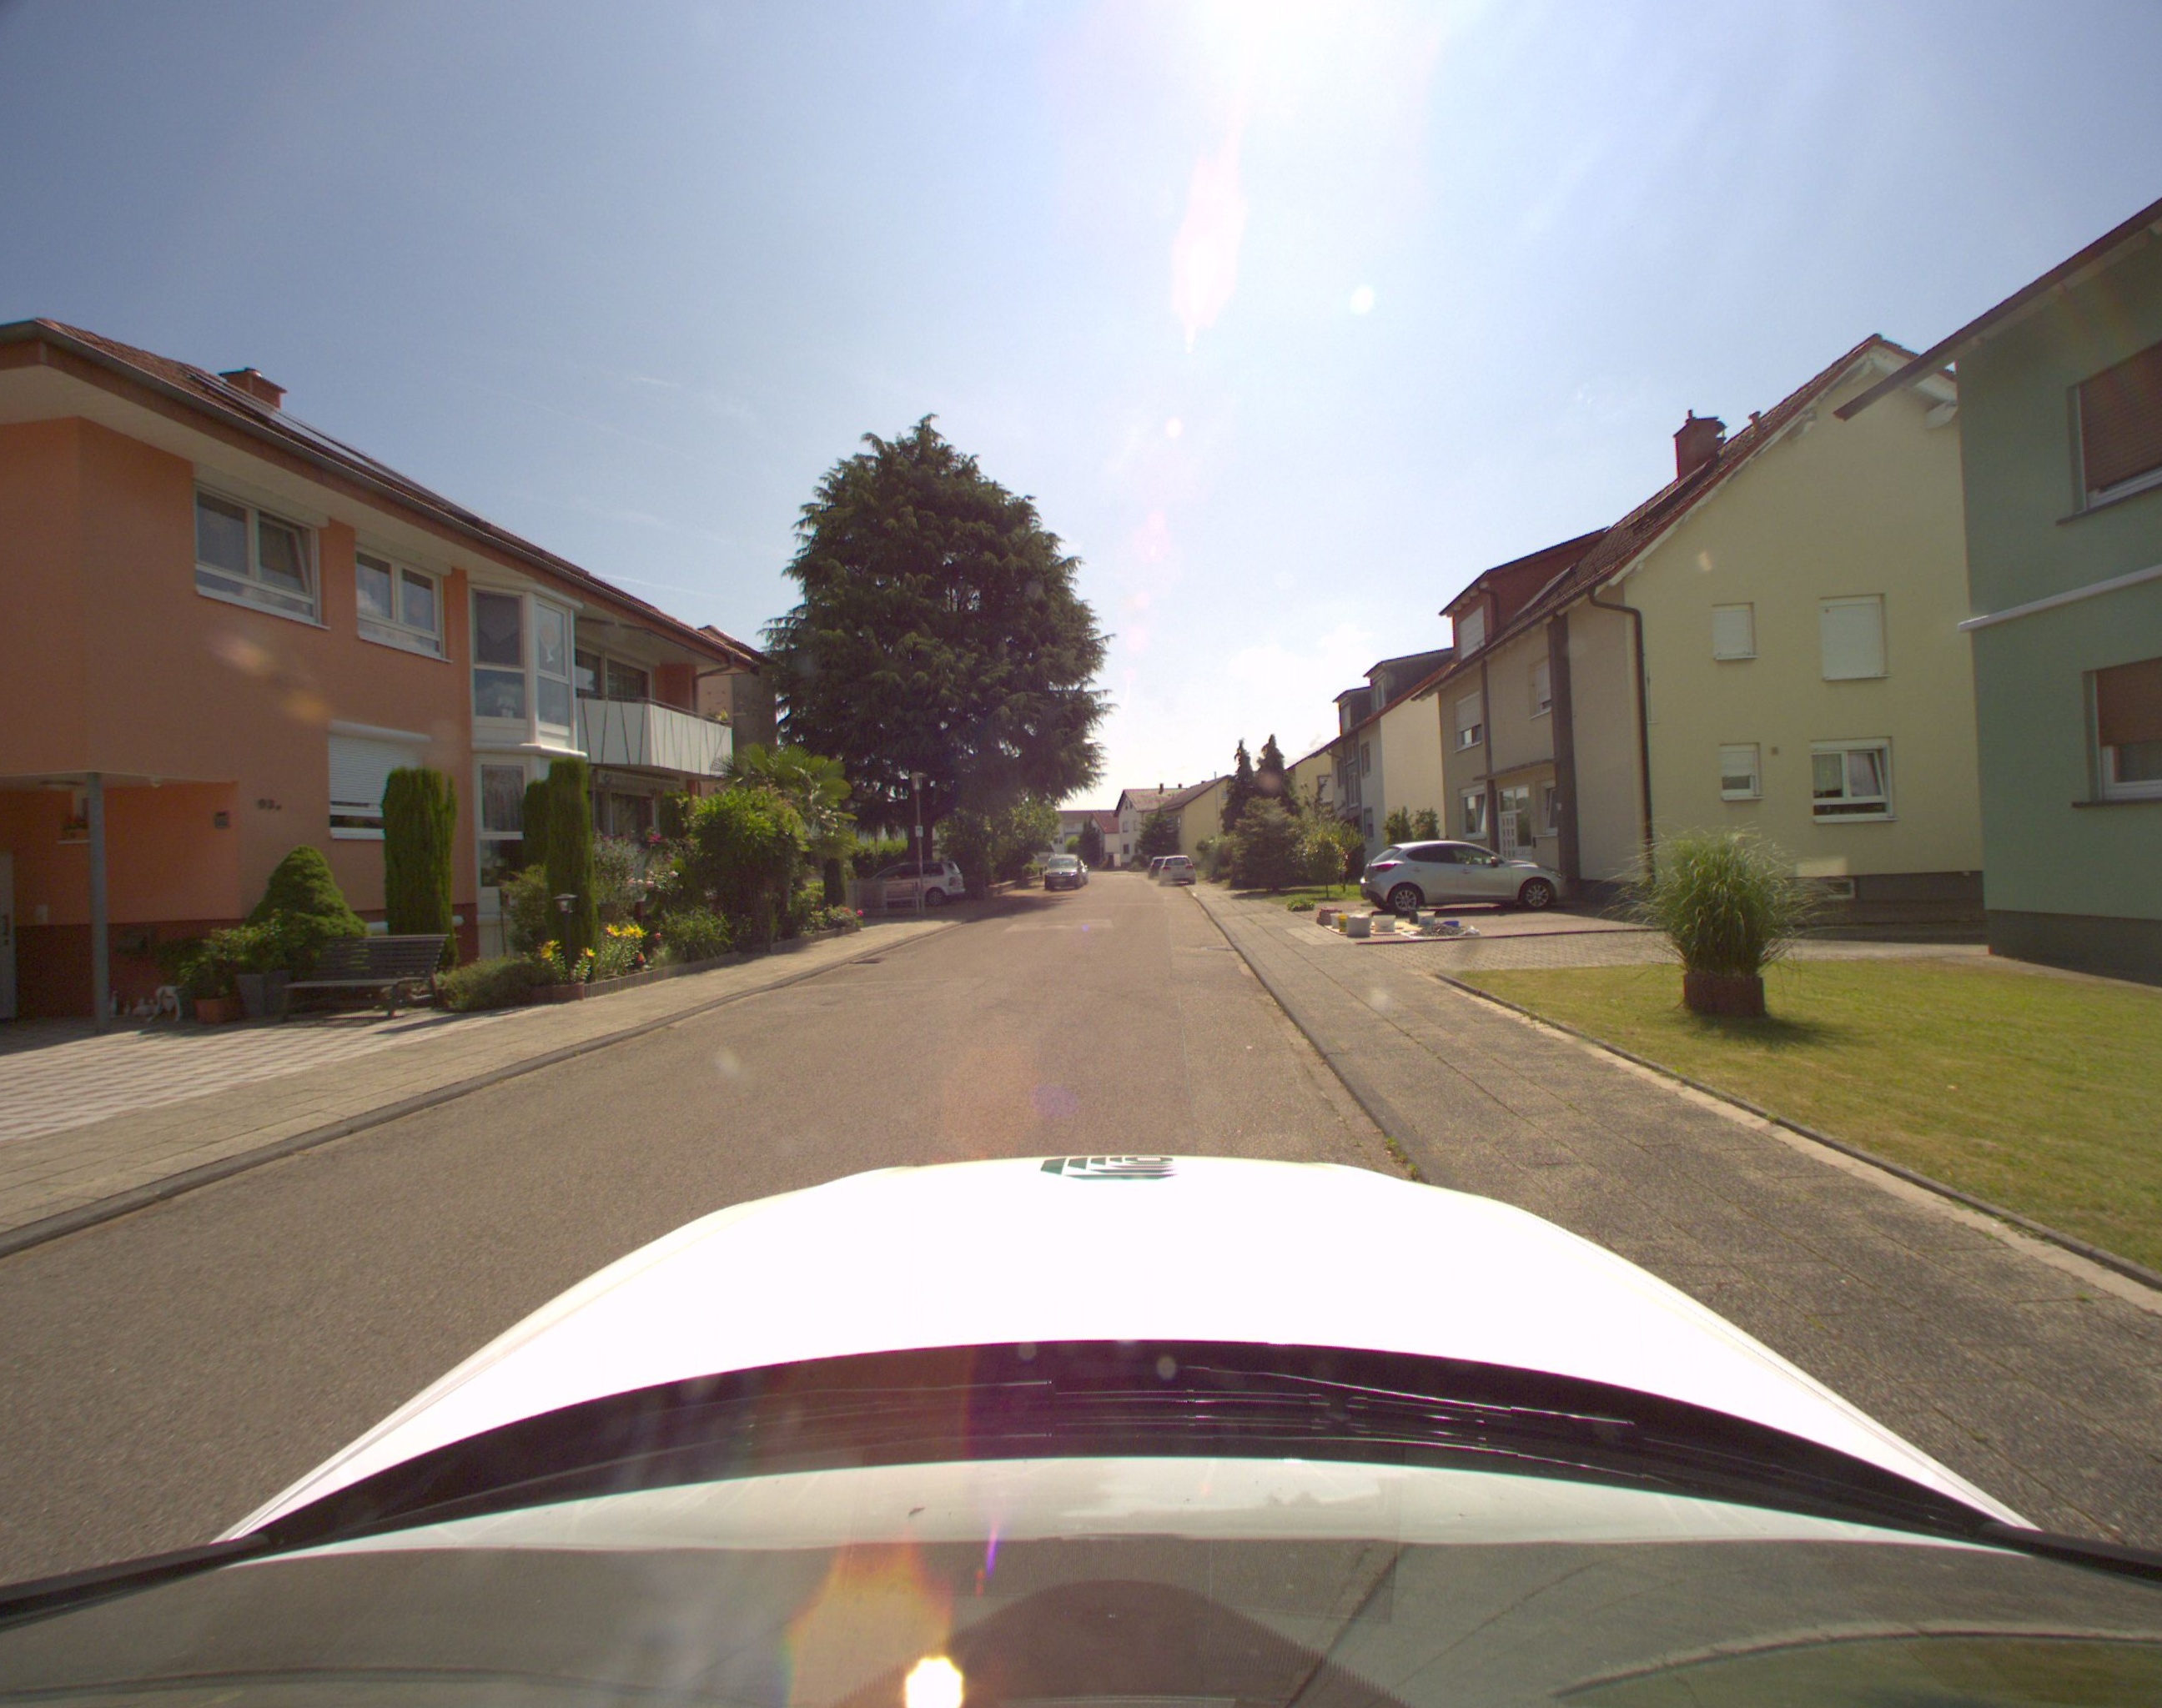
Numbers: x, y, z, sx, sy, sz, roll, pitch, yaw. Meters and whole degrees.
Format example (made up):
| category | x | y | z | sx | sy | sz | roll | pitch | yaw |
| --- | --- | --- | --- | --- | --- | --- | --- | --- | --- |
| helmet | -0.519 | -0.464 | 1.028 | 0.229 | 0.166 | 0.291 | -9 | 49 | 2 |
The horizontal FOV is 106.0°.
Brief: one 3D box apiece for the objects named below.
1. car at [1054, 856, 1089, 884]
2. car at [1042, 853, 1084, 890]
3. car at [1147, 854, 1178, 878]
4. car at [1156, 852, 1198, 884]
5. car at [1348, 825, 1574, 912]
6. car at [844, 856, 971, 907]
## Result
| category | x | y | z | sx | sy | sz | roll | pitch | yaw |
| --- | --- | --- | --- | --- | --- | --- | --- | --- | --- |
| car | -0.527 | 0.909 | 48.341 | 1.801 | 1.495 | 4.003 | -3 | 0 | 3 |
| car | -0.889 | 0.869 | 42.121 | 1.801 | 1.763 | 4.209 | -3 | 0 | 3 |
| car | 5.426 | 0.763 | 54.782 | 1.801 | 1.495 | 4.003 | -3 | 0 | 3 |
| car | 4.919 | 0.669 | 42.170 | 1.801 | 1.495 | 4.003 | -3 | 0 | 3 |
| car | 7.843 | 0.305 | 17.134 | 3.894 | 1.510 | 1.777 | -3 | 0 | 6 |
| car | -6.396 | 1.010 | 30.240 | 4.169 | 1.653 | 1.818 | -3 | 0 | 7 |
